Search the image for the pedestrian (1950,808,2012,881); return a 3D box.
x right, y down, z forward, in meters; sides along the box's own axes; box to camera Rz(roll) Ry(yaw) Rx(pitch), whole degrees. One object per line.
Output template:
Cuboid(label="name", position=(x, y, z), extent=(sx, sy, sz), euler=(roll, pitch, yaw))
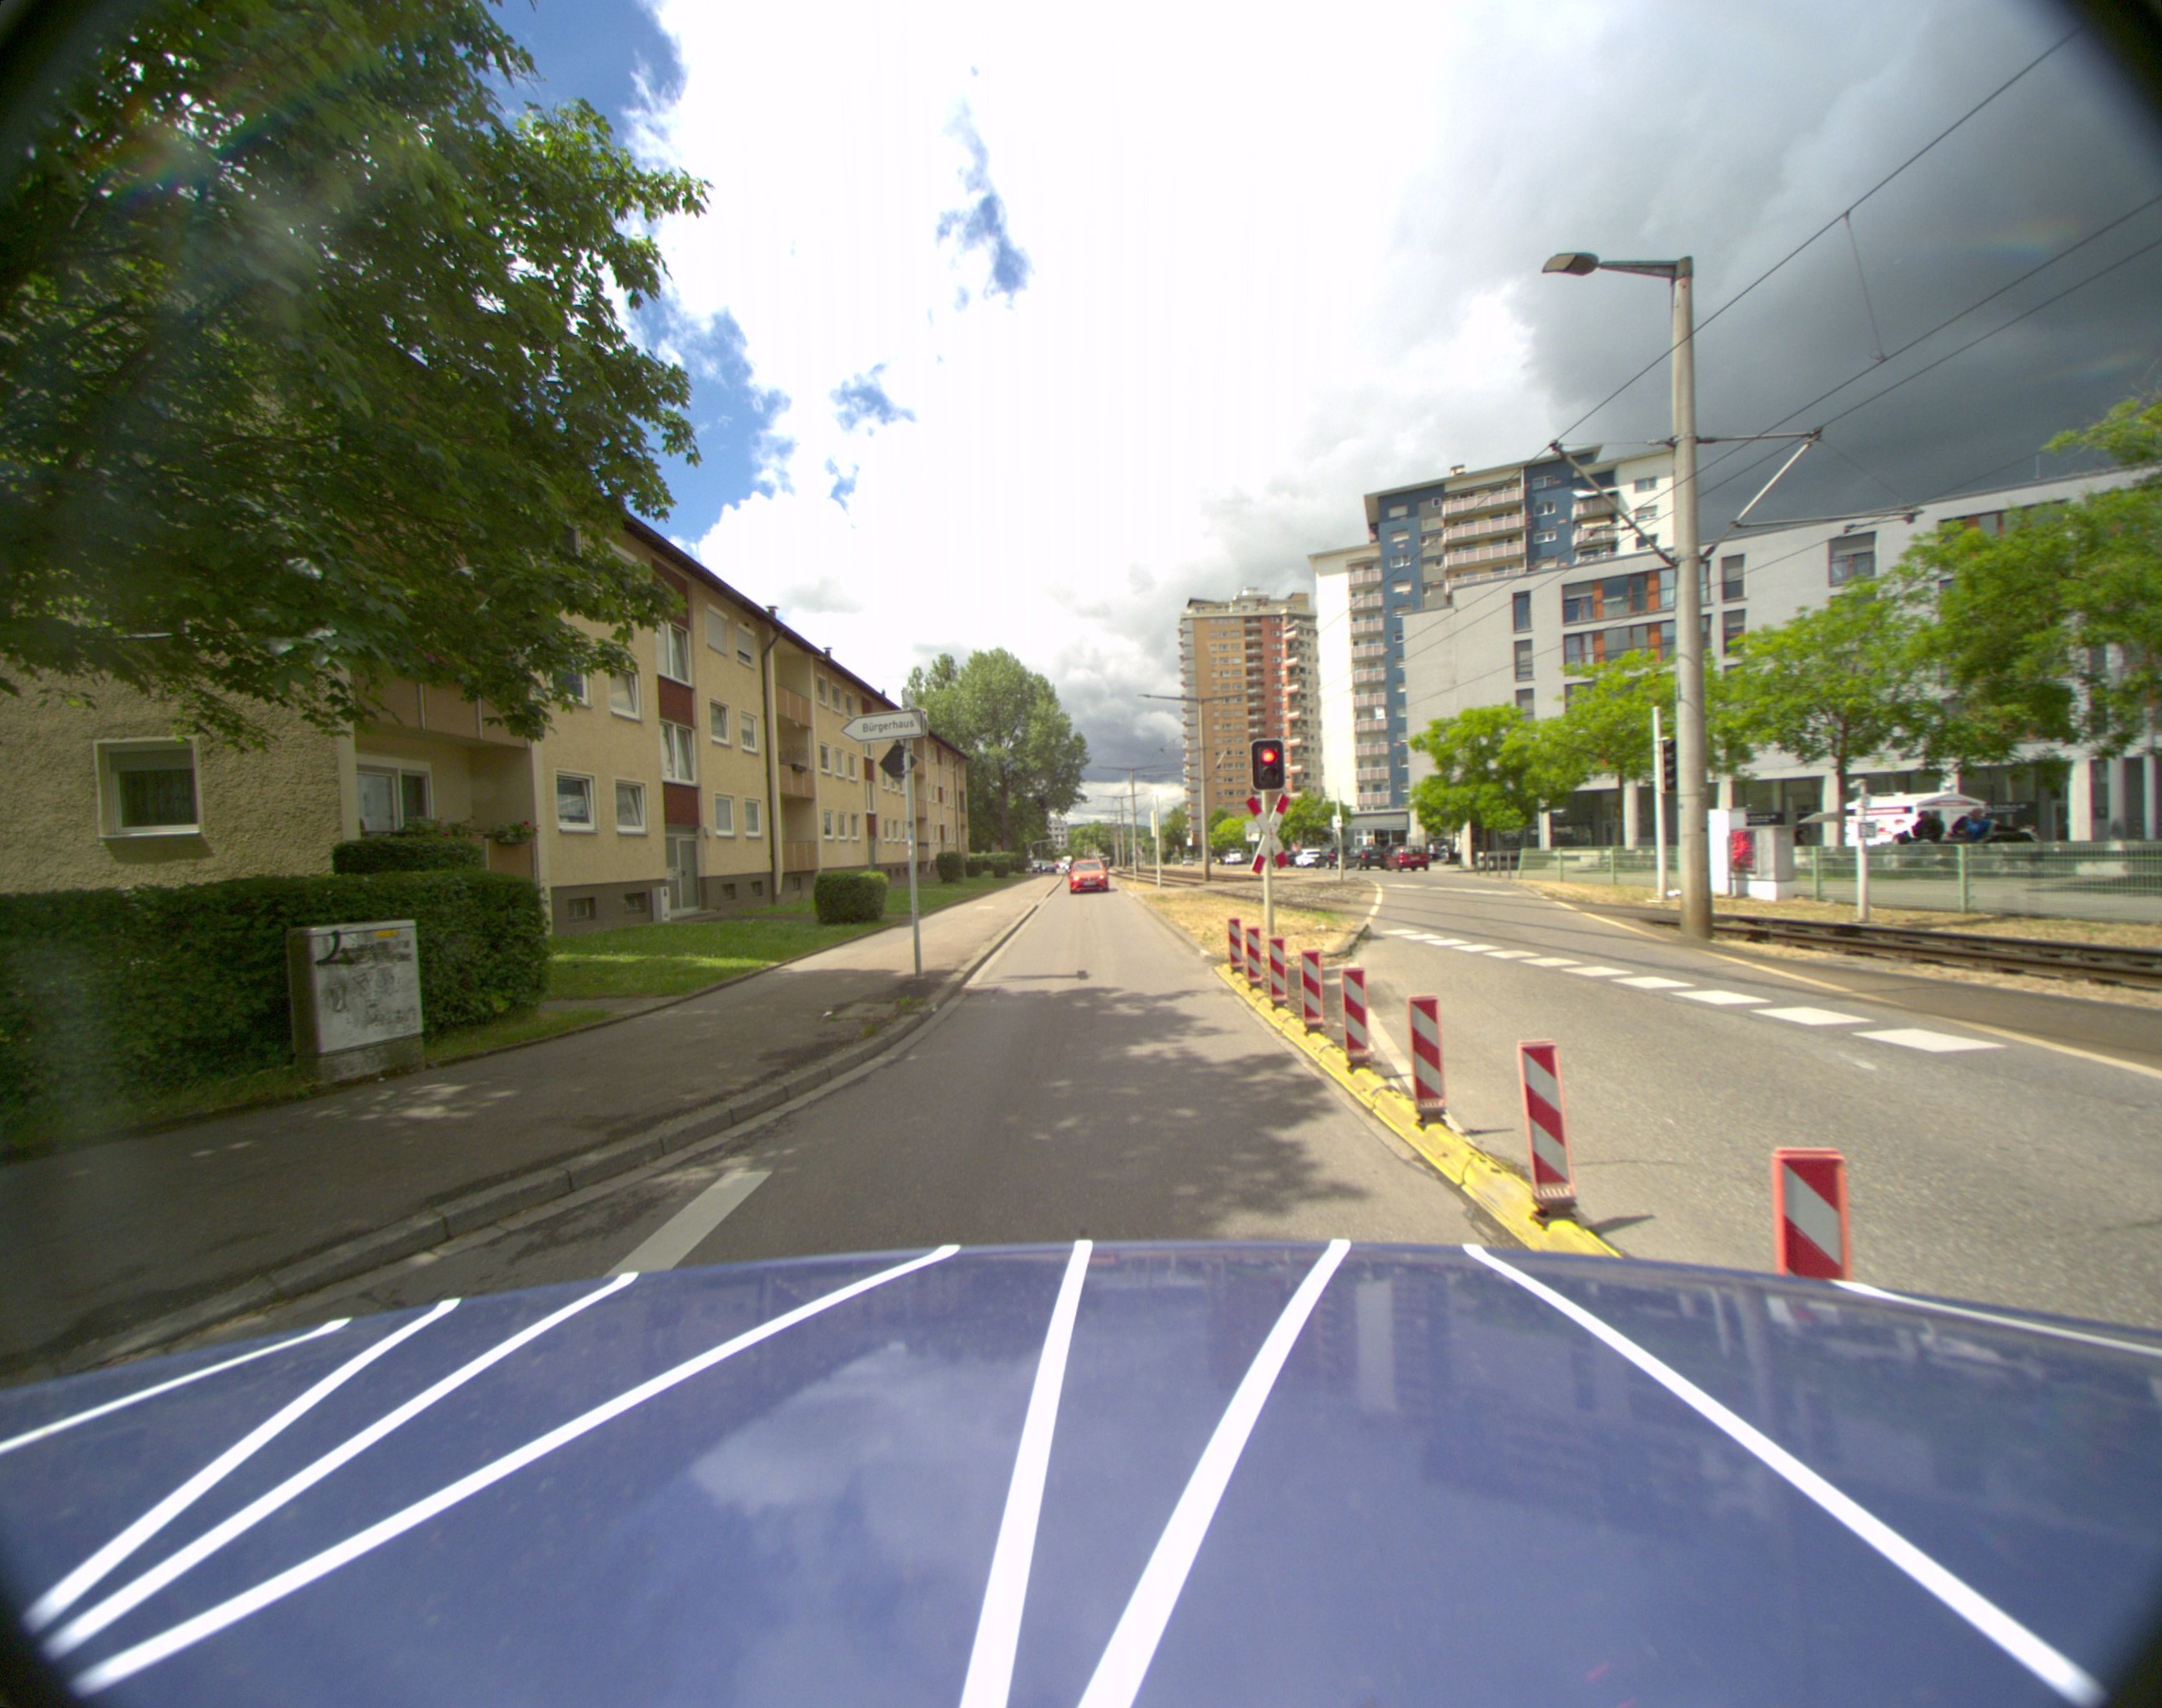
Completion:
Cuboid(label="pedestrian", position=(21.033, -0.213, 17.764), extent=(0.749, 1.644, 0.538), euler=(-3, 1, 1))

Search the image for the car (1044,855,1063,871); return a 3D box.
Cuboid(label="car", position=(-3.131, 1.034, 86.026), extent=(1.843, 1.648, 3.789), euler=(-3, 0, 1))

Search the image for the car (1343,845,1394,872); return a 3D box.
Cuboid(label="car", position=(18.329, 0.280, 48.581), extent=(1.893, 1.530, 3.804), euler=(-3, 0, 2))

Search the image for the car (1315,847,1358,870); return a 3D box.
Cuboid(label="car", position=(18.326, 0.328, 54.696), extent=(1.781, 1.530, 3.803), euler=(-3, 0, 0))

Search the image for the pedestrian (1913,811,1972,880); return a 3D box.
Cuboid(label="pedestrian", position=(21.120, -0.203, 18.637), extent=(0.749, 1.644, 0.538), euler=(-3, 1, 1))

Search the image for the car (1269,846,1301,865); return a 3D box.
Cuboid(label="car", position=(18.128, 0.115, 67.789), extent=(1.781, 1.530, 3.803), euler=(-3, 0, 0))

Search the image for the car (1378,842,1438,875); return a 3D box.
Cuboid(label="car", position=(18.088, 0.228, 42.235), extent=(1.893, 1.613, 3.805), euler=(-3, 0, 5))

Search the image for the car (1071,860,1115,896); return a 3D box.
Cuboid(label="car", position=(0.590, 1.015, 33.222), extent=(1.791, 1.387, 4.242), euler=(0, 0, 3))

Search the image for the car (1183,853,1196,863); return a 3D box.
Cuboid(label="car", position=(17.573, 0.580, 123.292), extent=(1.780, 1.491, 3.805), euler=(-3, 0, 6))

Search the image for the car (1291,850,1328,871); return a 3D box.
Cuboid(label="car", position=(18.371, 0.516, 61.144), extent=(1.781, 1.530, 3.803), euler=(-3, 0, 0))

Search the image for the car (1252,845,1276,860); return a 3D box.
Cuboid(label="car", position=(21.145, -0.176, 87.780), extent=(1.781, 1.650, 3.803), euler=(-3, 0, 0))

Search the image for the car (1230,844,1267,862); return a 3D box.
Cuboid(label="car", position=(20.379, -0.138, 92.176), extent=(4.504, 1.914, 1.877), euler=(-3, 0, -40))
